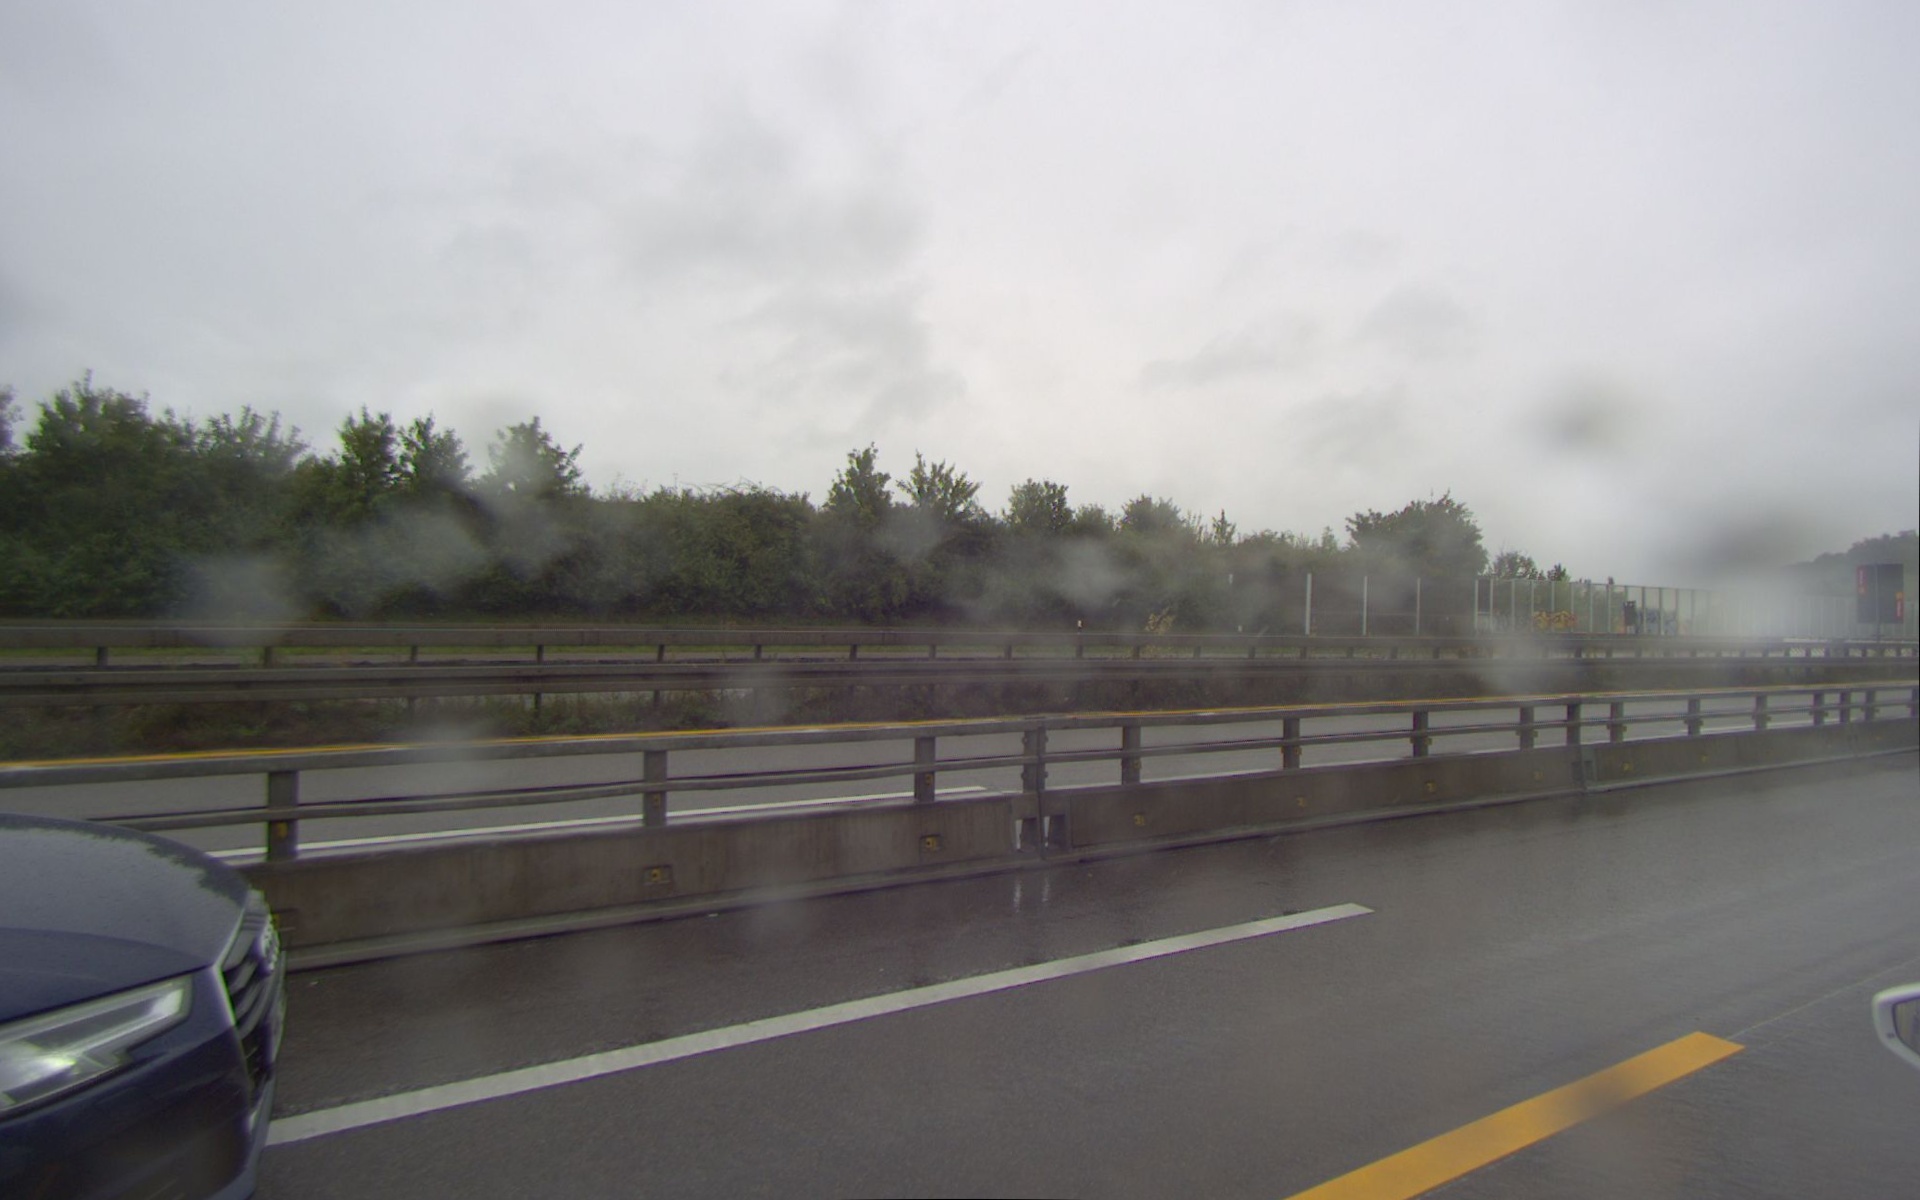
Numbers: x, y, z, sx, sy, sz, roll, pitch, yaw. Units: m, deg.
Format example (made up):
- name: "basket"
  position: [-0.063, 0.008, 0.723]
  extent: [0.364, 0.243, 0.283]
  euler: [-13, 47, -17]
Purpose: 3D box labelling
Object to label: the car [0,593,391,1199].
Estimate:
- name: "car"
  position: [-3.417, 0.702, 1.315]
  extent: [4.579, 1.517, 1.983]
  euler: [2, -1, -32]
